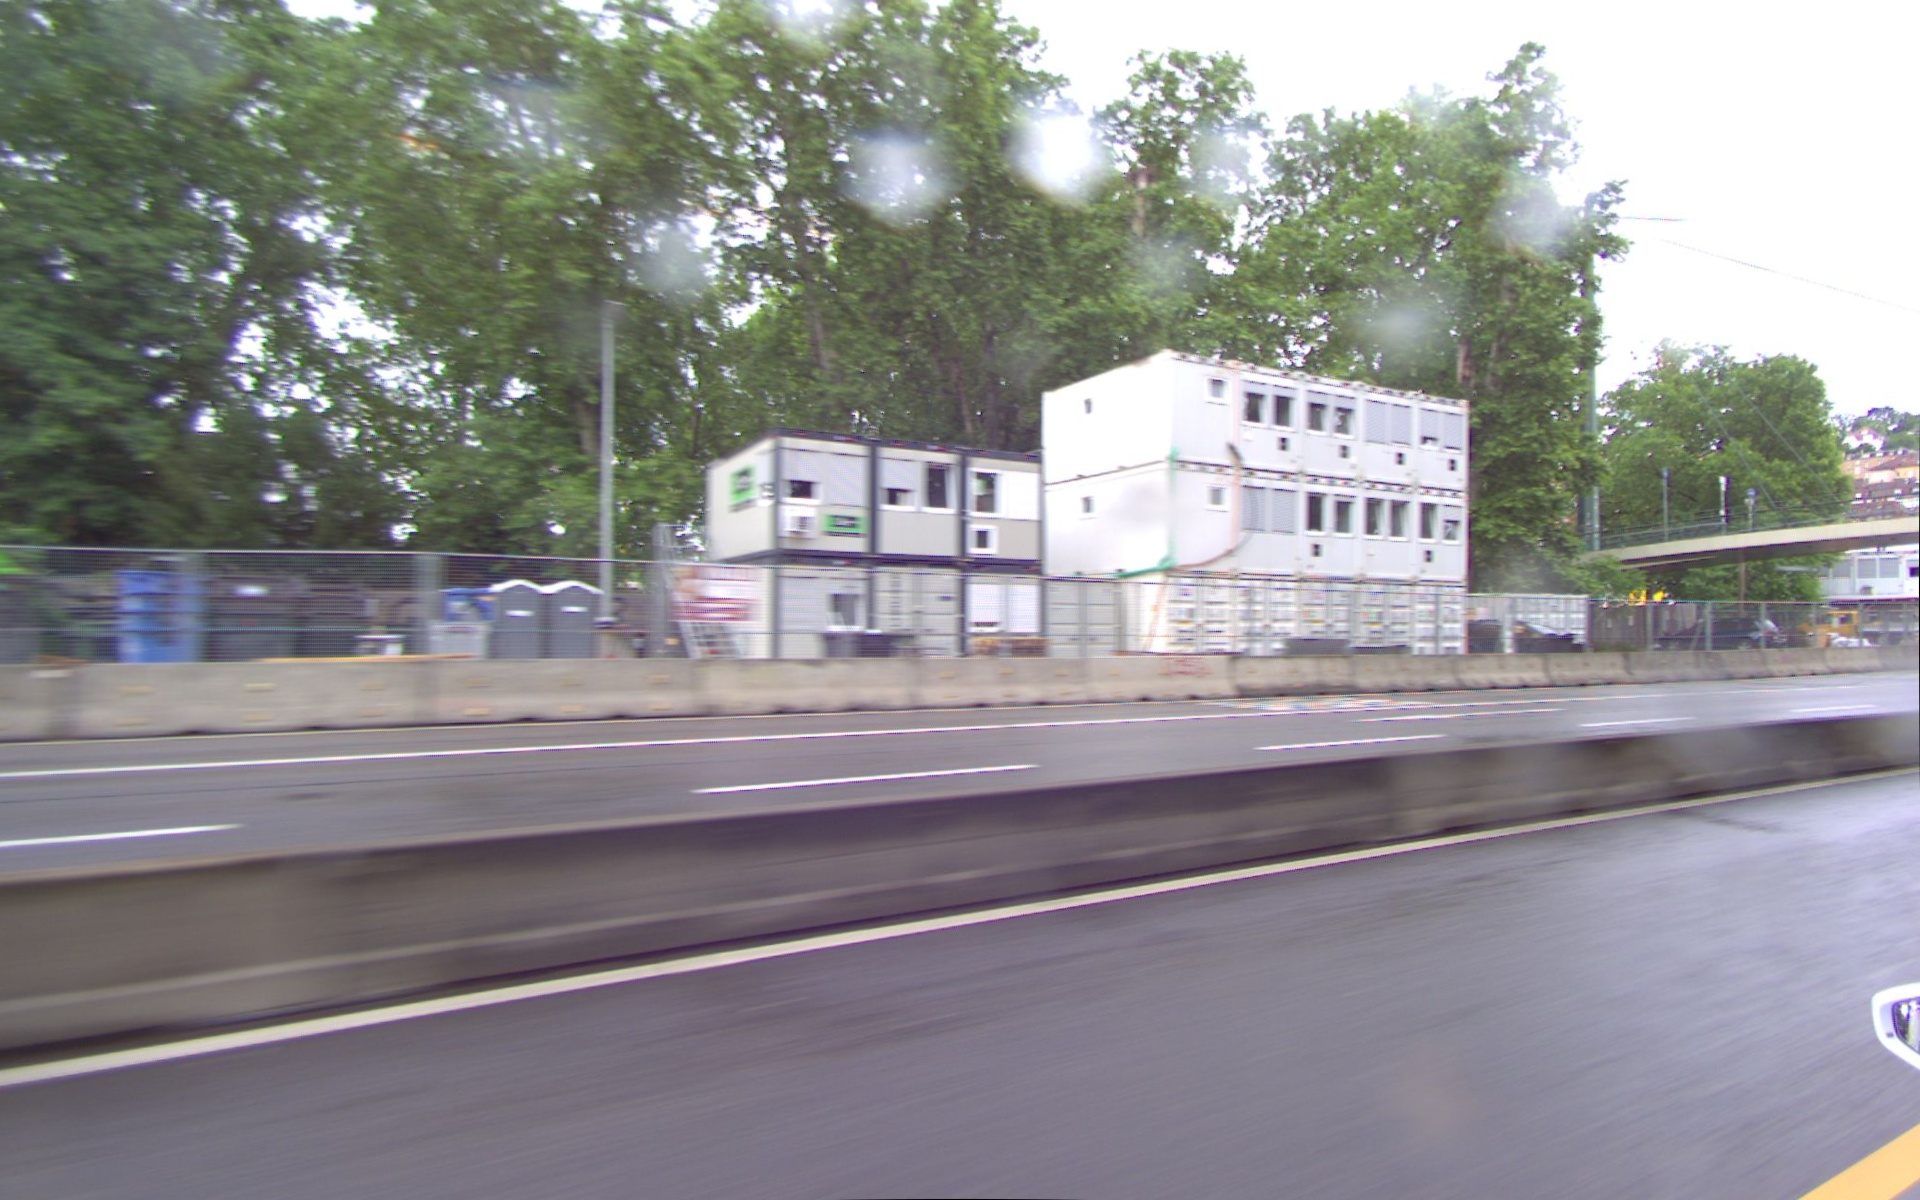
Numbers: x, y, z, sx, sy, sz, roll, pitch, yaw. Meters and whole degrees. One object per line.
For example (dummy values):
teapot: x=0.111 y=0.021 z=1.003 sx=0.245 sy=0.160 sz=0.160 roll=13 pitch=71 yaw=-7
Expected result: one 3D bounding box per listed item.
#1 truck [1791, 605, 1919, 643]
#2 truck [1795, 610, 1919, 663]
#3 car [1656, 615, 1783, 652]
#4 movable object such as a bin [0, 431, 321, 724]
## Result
truck: x=50.473 y=1.346 z=56.586 sx=2.139 sy=2.040 sz=5.221 roll=1 pitch=-2 yaw=-31
truck: x=45.315 y=1.769 z=49.261 sx=2.666 sy=2.484 sz=6.238 roll=2 pitch=-2 yaw=-34
car: x=35.590 y=1.571 z=47.142 sx=1.940 sy=1.649 sz=4.393 roll=1 pitch=-2 yaw=-35
movable object such as a bin: x=-17.084 y=-0.321 z=18.799 sx=8.259 sy=4.866 sz=4.729 roll=1 pitch=-2 yaw=-30
